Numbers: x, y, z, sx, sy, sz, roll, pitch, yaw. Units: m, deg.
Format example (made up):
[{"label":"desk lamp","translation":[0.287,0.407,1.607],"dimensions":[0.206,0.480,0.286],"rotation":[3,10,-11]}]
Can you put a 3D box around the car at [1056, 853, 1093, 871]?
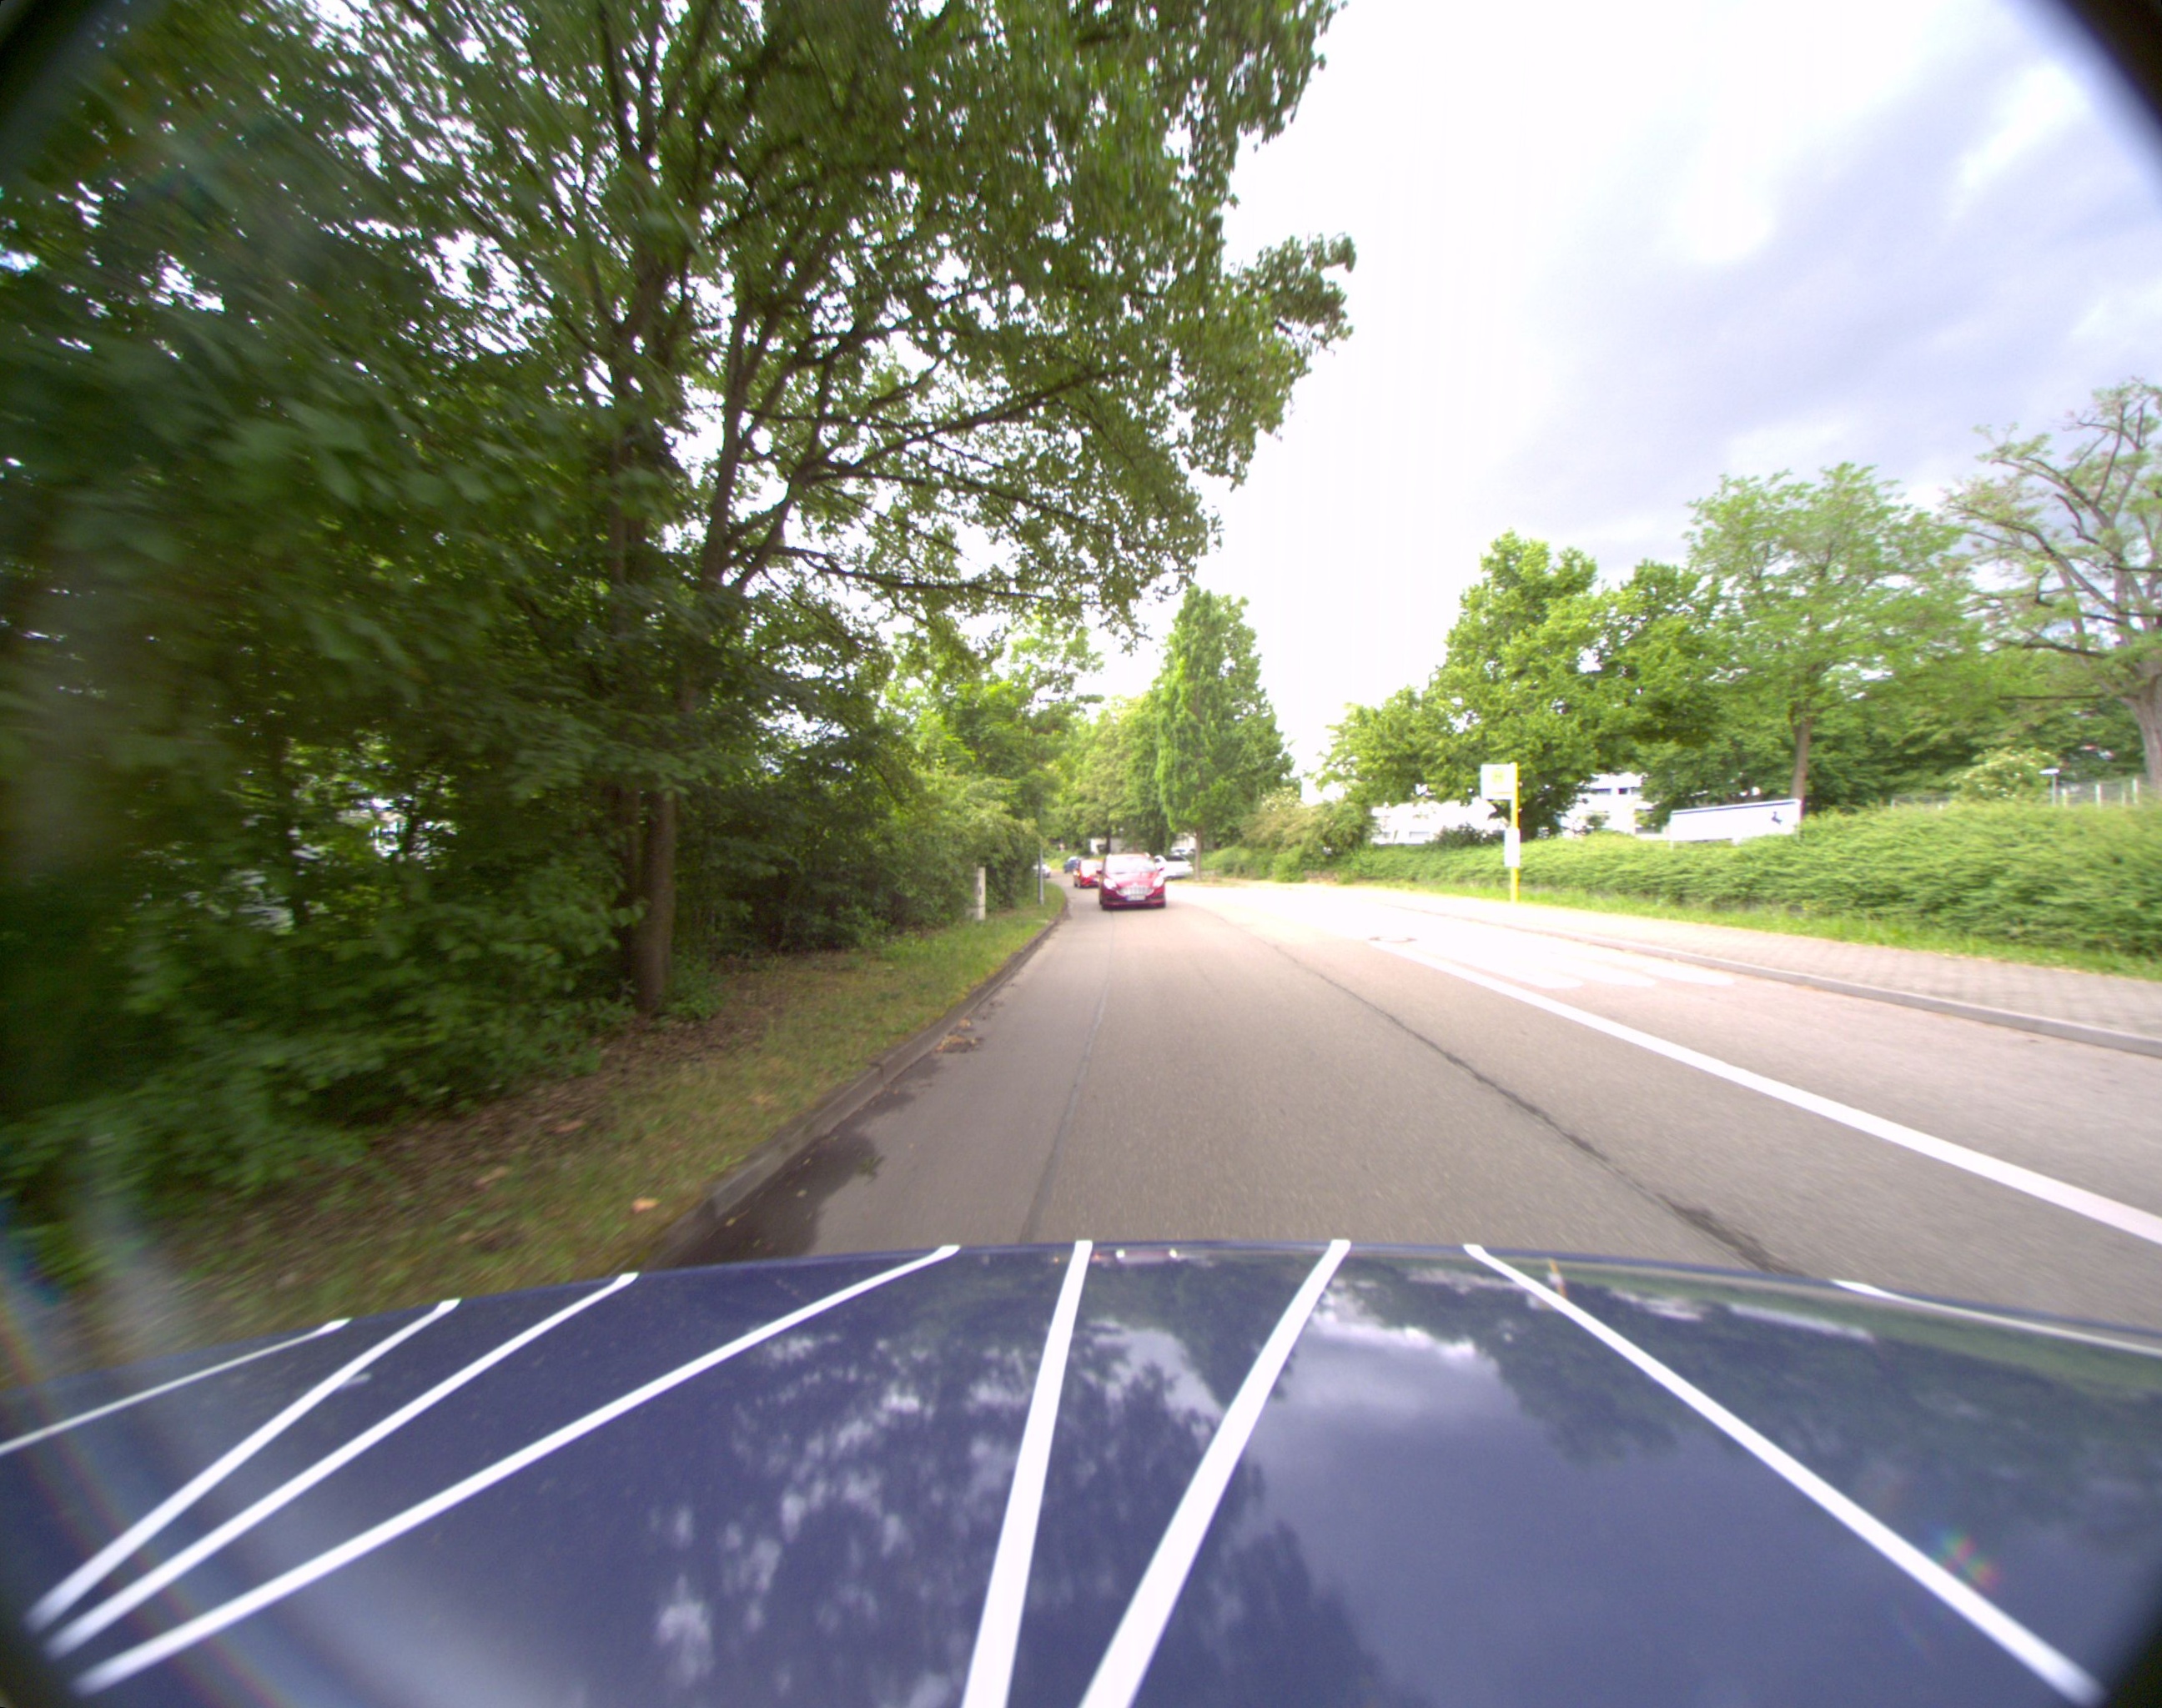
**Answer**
[{"label":"car","translation":[-0.597,0.680,64.996],"dimensions":[1.855,1.483,3.993],"rotation":[-2,0,-22]}]

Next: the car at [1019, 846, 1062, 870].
[{"label":"car","translation":[-3.113,0.290,58.053],"dimensions":[2.002,1.684,3.992],"rotation":[-3,2,-22]}]

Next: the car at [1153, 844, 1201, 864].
[{"label":"car","translation":[8.708,-0.023,68.986],"dimensions":[3.801,1.629,2.003],"rotation":[-1,2,35]}]

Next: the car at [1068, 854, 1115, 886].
[{"label":"car","translation":[0.505,0.789,39.865],"dimensions":[1.948,1.522,4.084],"rotation":[-2,1,-6]}]

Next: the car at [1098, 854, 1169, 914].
[{"label":"car","translation":[1.522,0.832,23.505],"dimensions":[1.945,1.550,4.355],"rotation":[-2,1,1]}]

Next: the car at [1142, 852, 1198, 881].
[{"label":"car","translation":[4.895,0.651,42.425],"dimensions":[1.854,1.483,4.632],"rotation":[-2,0,-9]}]
